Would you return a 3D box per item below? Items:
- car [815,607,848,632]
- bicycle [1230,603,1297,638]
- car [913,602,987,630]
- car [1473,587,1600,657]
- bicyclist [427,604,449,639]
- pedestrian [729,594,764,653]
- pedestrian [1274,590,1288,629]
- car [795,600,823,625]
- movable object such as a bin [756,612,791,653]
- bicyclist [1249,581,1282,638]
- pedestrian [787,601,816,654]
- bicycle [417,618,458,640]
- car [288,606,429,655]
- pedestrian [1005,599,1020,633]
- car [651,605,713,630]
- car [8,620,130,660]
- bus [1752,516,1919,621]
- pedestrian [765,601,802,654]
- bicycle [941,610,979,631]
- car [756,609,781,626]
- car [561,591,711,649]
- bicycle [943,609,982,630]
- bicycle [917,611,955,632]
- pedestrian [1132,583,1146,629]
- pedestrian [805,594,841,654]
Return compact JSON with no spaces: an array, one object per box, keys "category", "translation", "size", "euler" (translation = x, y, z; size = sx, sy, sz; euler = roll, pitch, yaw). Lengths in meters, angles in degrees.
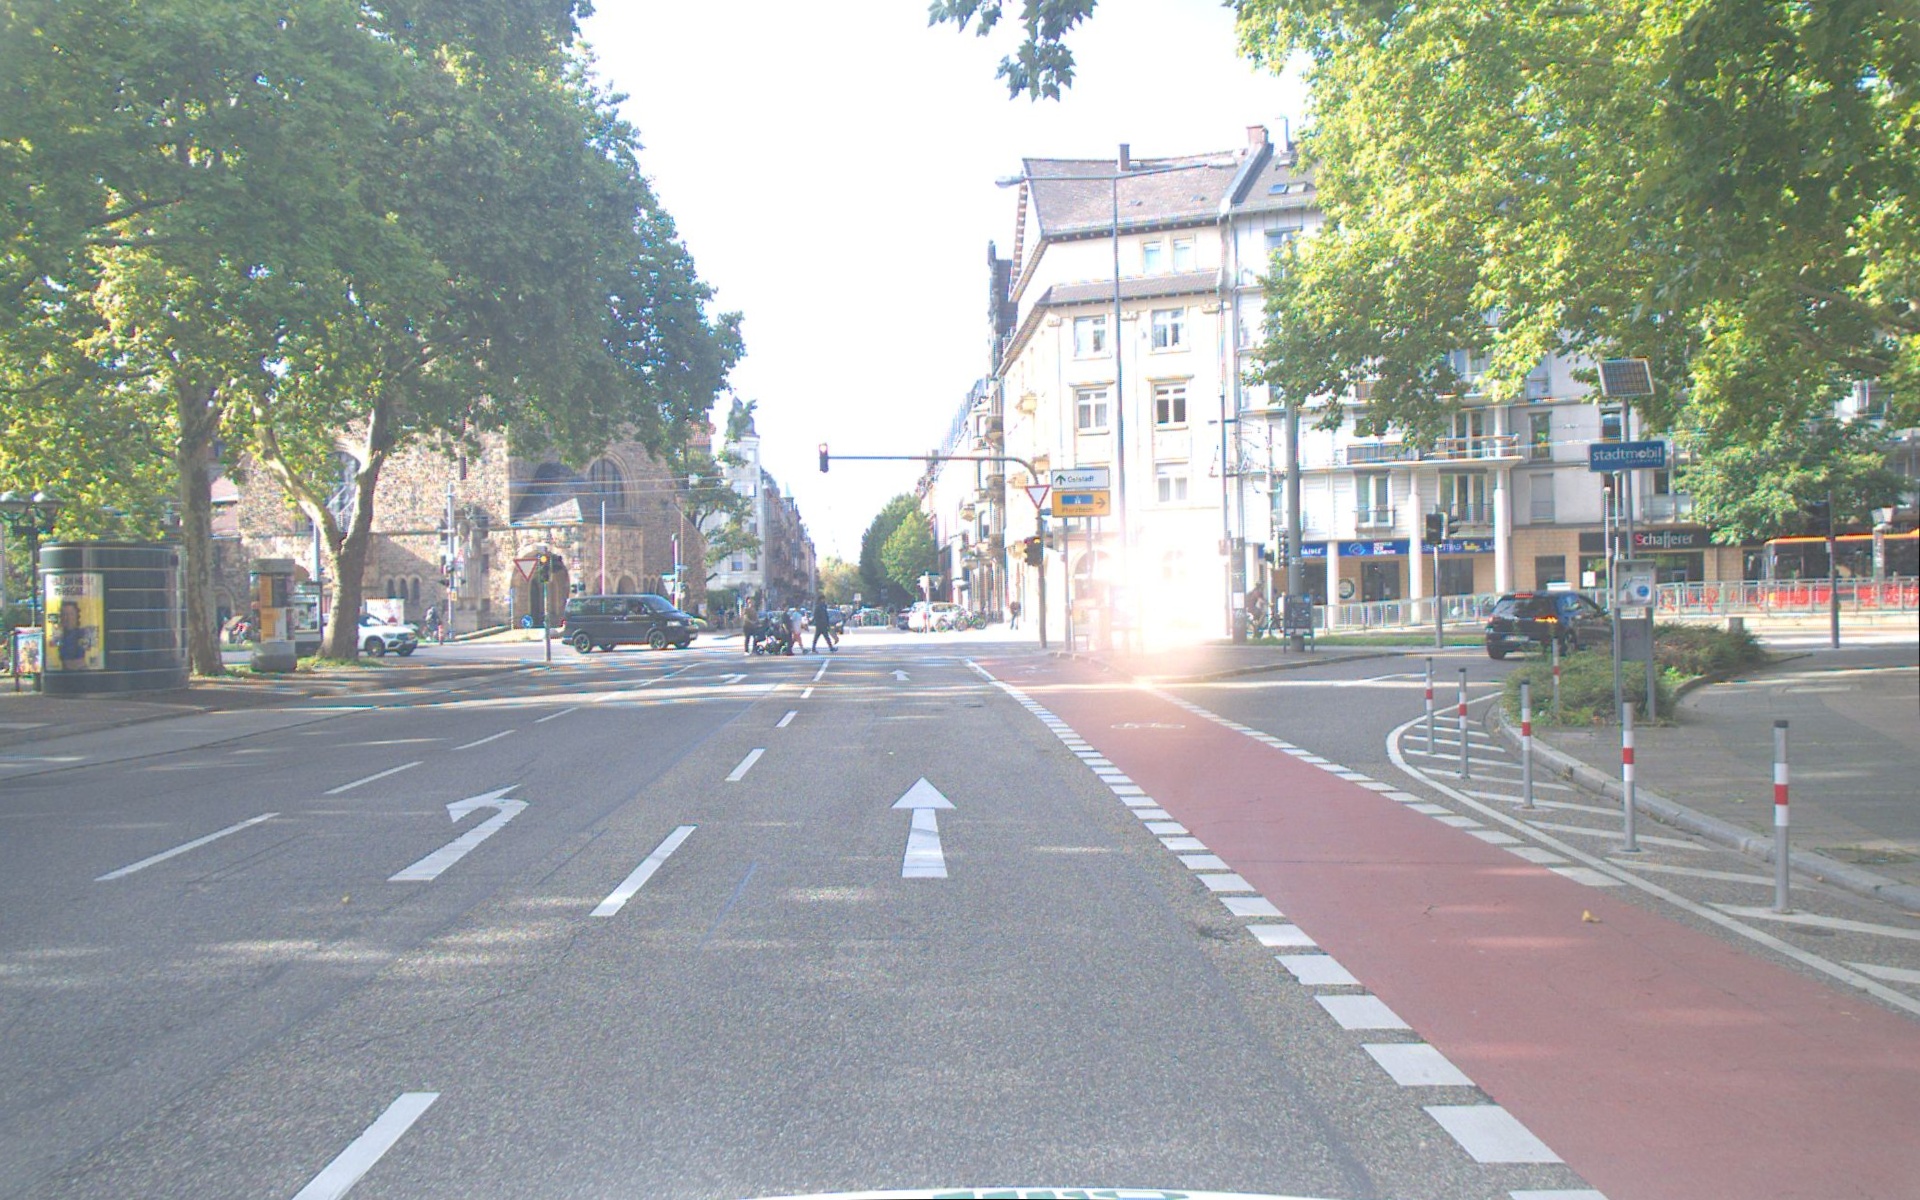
[{"category":"car","translation":[-7.745,1.163,99.965],"size":[1.910,1.396,3.997],"euler":[-1,0,-3]},{"category":"bicycle","translation":[8.708,0.593,47.501],"size":[1.793,0.972,0.573],"euler":[-1,0,23]},{"category":"car","translation":[-0.593,0.873,92.491],"size":[3.911,1.445,1.997],"euler":[-1,0,-7]},{"category":"car","translation":[12.557,0.439,35.895],"size":[1.720,1.438,3.989],"euler":[0,0,33]},{"category":"bicyclist","translation":[-25.477,1.051,80.777],"size":[0.710,1.691,0.717],"euler":[-1,0,33]},{"category":"pedestrian","translation":[-6.130,0.671,47.511],"size":[0.798,1.657,0.605],"euler":[-1,0,21]},{"category":"pedestrian","translation":[14.469,0.410,74.518],"size":[0.485,1.744,0.527],"euler":[1,0,21]},{"category":"car","translation":[-11.269,0.936,123.533],"size":[1.910,1.780,3.997],"euler":[-1,0,-3]},{"category":"movable object such as a bin","translation":[-5.330,0.925,47.255],"size":[0.820,1.143,0.575],"euler":[-1,0,20]},{"category":"bicyclist","translation":[8.773,0.259,47.490],"size":[0.763,1.607,0.625],"euler":[-1,0,22]},{"category":"pedestrian","translation":[-4.482,0.773,46.774],"size":[0.641,1.457,0.499],"euler":[-1,0,20]},{"category":"bicycle","translation":[-25.509,1.399,80.740],"size":[0.625,0.997,1.917],"euler":[-1,0,37]},{"category":"car","translation":[-22.394,1.139,61.643],"size":[4.606,1.712,2.018],"euler":[-1,0,17]},{"category":"pedestrian","translation":[2.564,0.763,81.173],"size":[0.550,1.652,0.600],"euler":[-1,0,18]},{"category":"car","translation":[-19.432,1.193,115.629],"size":[3.967,1.624,1.840],"euler":[-2,0,-42]},{"category":"car","translation":[-35.628,1.598,66.154],"size":[4.158,1.505,1.900],"euler":[-1,0,17]},{"category":"bus","translation":[35.237,-1.189,59.292],"size":[12.008,3.610,3.030],"euler":[-1,0,20]},{"category":"pedestrian","translation":[-4.925,0.758,46.249],"size":[0.764,1.457,0.731],"euler":[-1,0,20]},{"category":"bicycle","translation":[-0.003,1.130,90.844],"size":[1.988,1.101,0.629],"euler":[-1,0,-13]},{"category":"car","translation":[-14.478,1.326,125.272],"size":[1.519,1.251,3.587],"euler":[0,0,0]},{"category":"car","translation":[-11.337,0.684,57.931],"size":[4.741,1.903,2.033],"euler":[-1,0,17]},{"category":"bicycle","translation":[0.140,1.072,90.179],"size":[1.988,1.101,0.618],"euler":[-1,0,-13]},{"category":"bicycle","translation":[-1.292,1.171,90.024],"size":[1.988,1.101,0.618],"euler":[-1,0,-13]},{"category":"pedestrian","translation":[8.336,0.298,77.099],"size":[0.515,2.130,0.497],"euler":[1,0,23]},{"category":"pedestrian","translation":[-3.933,0.681,47.558],"size":[0.764,1.691,0.779],"euler":[-1,0,20]}]
